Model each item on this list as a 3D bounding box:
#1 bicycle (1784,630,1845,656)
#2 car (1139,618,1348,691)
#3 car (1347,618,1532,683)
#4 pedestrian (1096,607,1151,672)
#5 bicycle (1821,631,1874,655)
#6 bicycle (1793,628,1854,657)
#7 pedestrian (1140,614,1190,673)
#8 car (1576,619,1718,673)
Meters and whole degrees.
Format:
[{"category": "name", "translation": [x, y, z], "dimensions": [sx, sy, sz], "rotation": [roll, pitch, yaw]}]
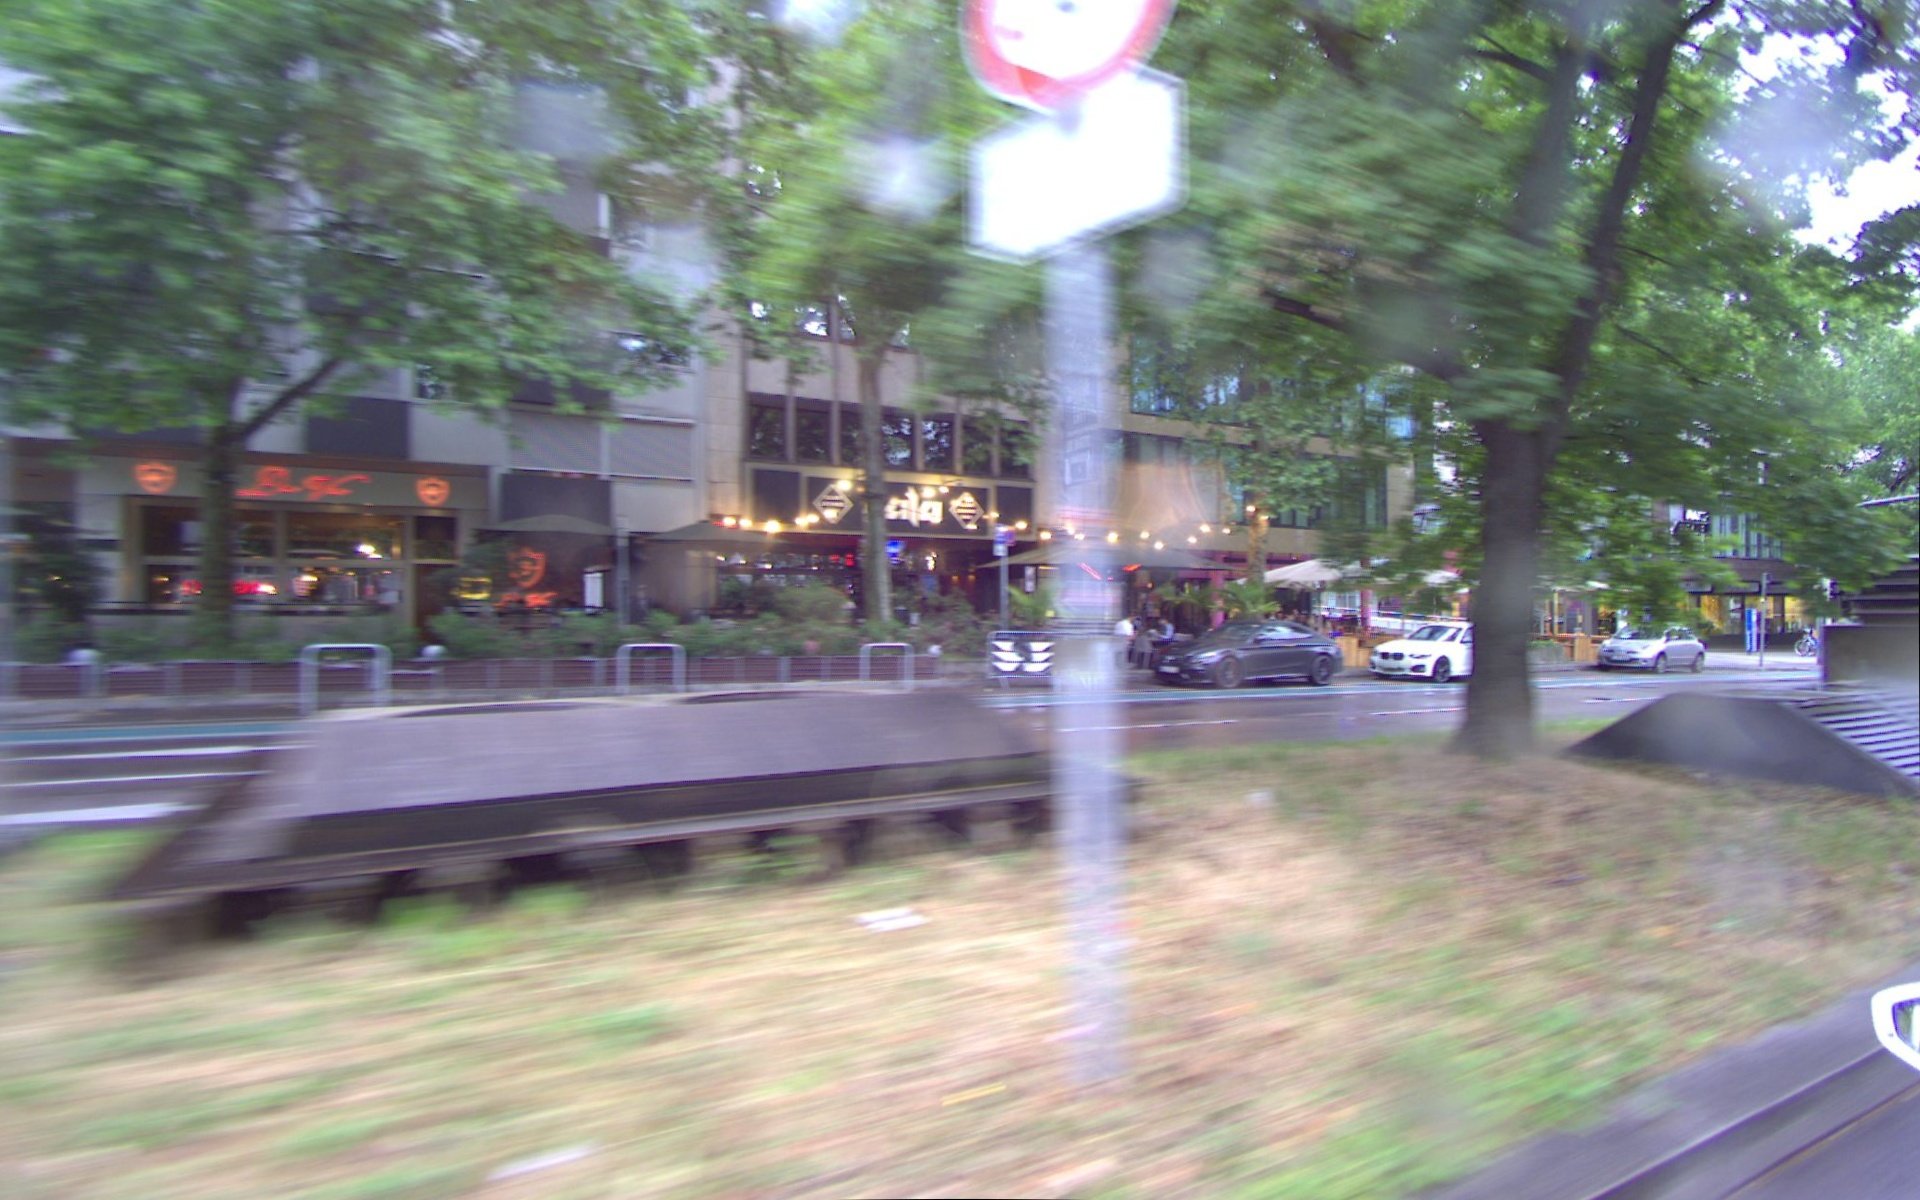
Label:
[{"category": "bicycle", "translation": [34.840, 1.747, 40.976], "dimensions": [0.560, 0.992, 1.834], "rotation": [1, -1, -32]}, {"category": "car", "translation": [6.189, 1.131, 21.802], "dimensions": [4.430, 1.413, 1.816], "rotation": [1, -1, -30]}, {"category": "car", "translation": [12.026, 1.213, 25.133], "dimensions": [4.486, 1.388, 1.984], "rotation": [1, 2, -30]}, {"category": "pedestrian", "translation": [3.869, 0.925, 23.800], "dimensions": [0.963, 1.508, 0.824], "rotation": [1, 0, -33]}, {"category": "bicycle", "translation": [37.496, 1.820, 42.441], "dimensions": [0.505, 0.975, 1.606], "rotation": [1, -1, -36]}, {"category": "bicycle", "translation": [35.588, 1.734, 41.426], "dimensions": [0.609, 1.112, 1.831], "rotation": [1, -1, -37]}, {"category": "pedestrian", "translation": [5.029, 1.052, 24.614], "dimensions": [0.923, 1.398, 0.759], "rotation": [1, 0, -33]}, {"category": "car", "translation": [20.915, 1.344, 30.548], "dimensions": [4.468, 1.529, 1.983], "rotation": [1, -1, -32]}]
